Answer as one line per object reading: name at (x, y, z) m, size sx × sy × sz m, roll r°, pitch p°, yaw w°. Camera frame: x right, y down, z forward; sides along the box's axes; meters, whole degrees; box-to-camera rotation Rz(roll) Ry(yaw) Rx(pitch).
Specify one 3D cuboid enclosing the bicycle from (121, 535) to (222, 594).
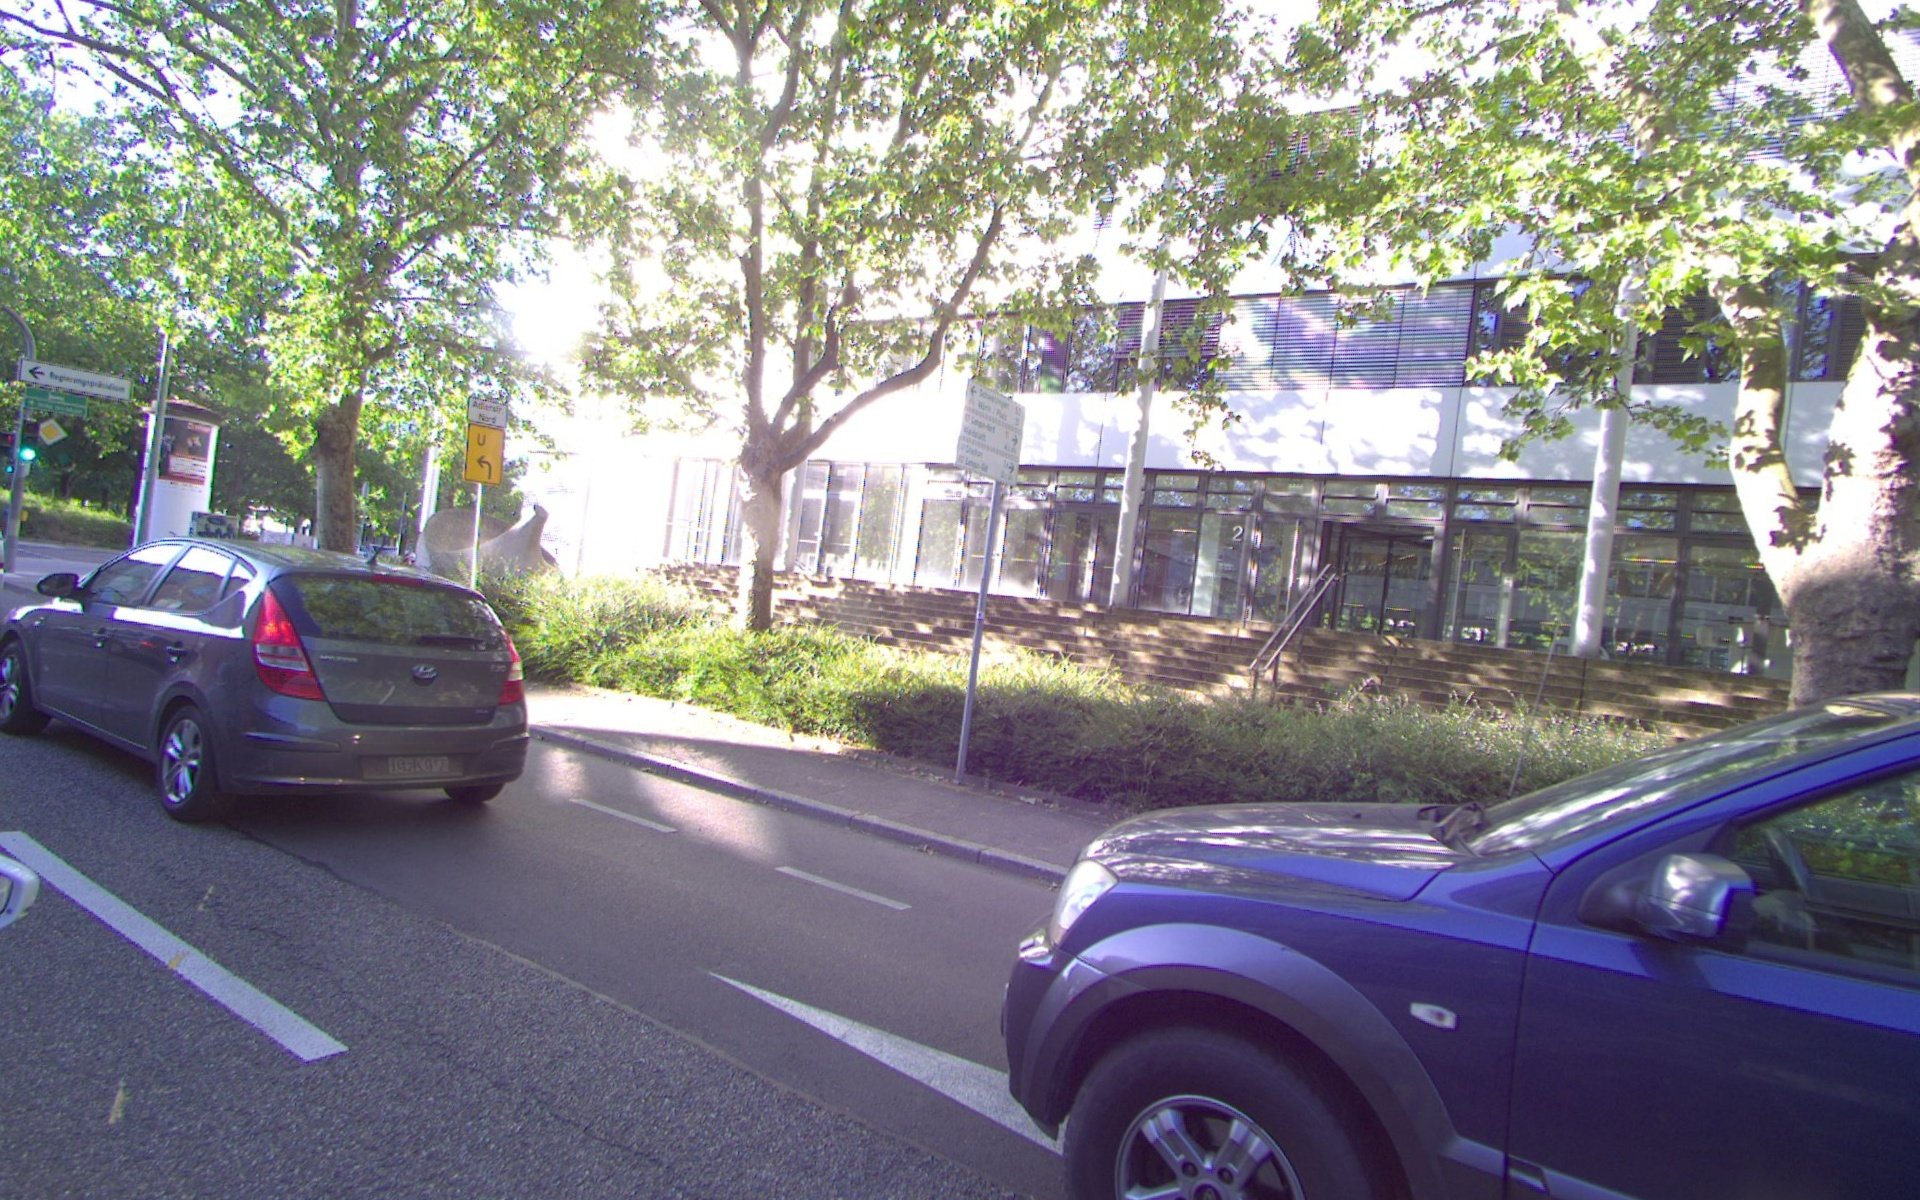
bicycle at (-16.437, -0.714, 21.025) m, size 0.631 × 1.040 × 1.887 m, roll 7°, pitch -2°, yaw -5°

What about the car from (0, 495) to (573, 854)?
car at (-4.568, 0.317, 6.479) m, size 3.934 × 1.537 × 1.708 m, roll 7°, pitch -1°, yaw 32°

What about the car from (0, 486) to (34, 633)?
car at (-12.941, -0.695, 12.007) m, size 3.620 × 1.681 × 1.734 m, roll 6°, pitch -2°, yaw 32°

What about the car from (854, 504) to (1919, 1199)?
car at (2.177, 0.951, 2.157) m, size 4.407 × 1.784 × 1.865 m, roll 7°, pitch -1°, yaw 32°
